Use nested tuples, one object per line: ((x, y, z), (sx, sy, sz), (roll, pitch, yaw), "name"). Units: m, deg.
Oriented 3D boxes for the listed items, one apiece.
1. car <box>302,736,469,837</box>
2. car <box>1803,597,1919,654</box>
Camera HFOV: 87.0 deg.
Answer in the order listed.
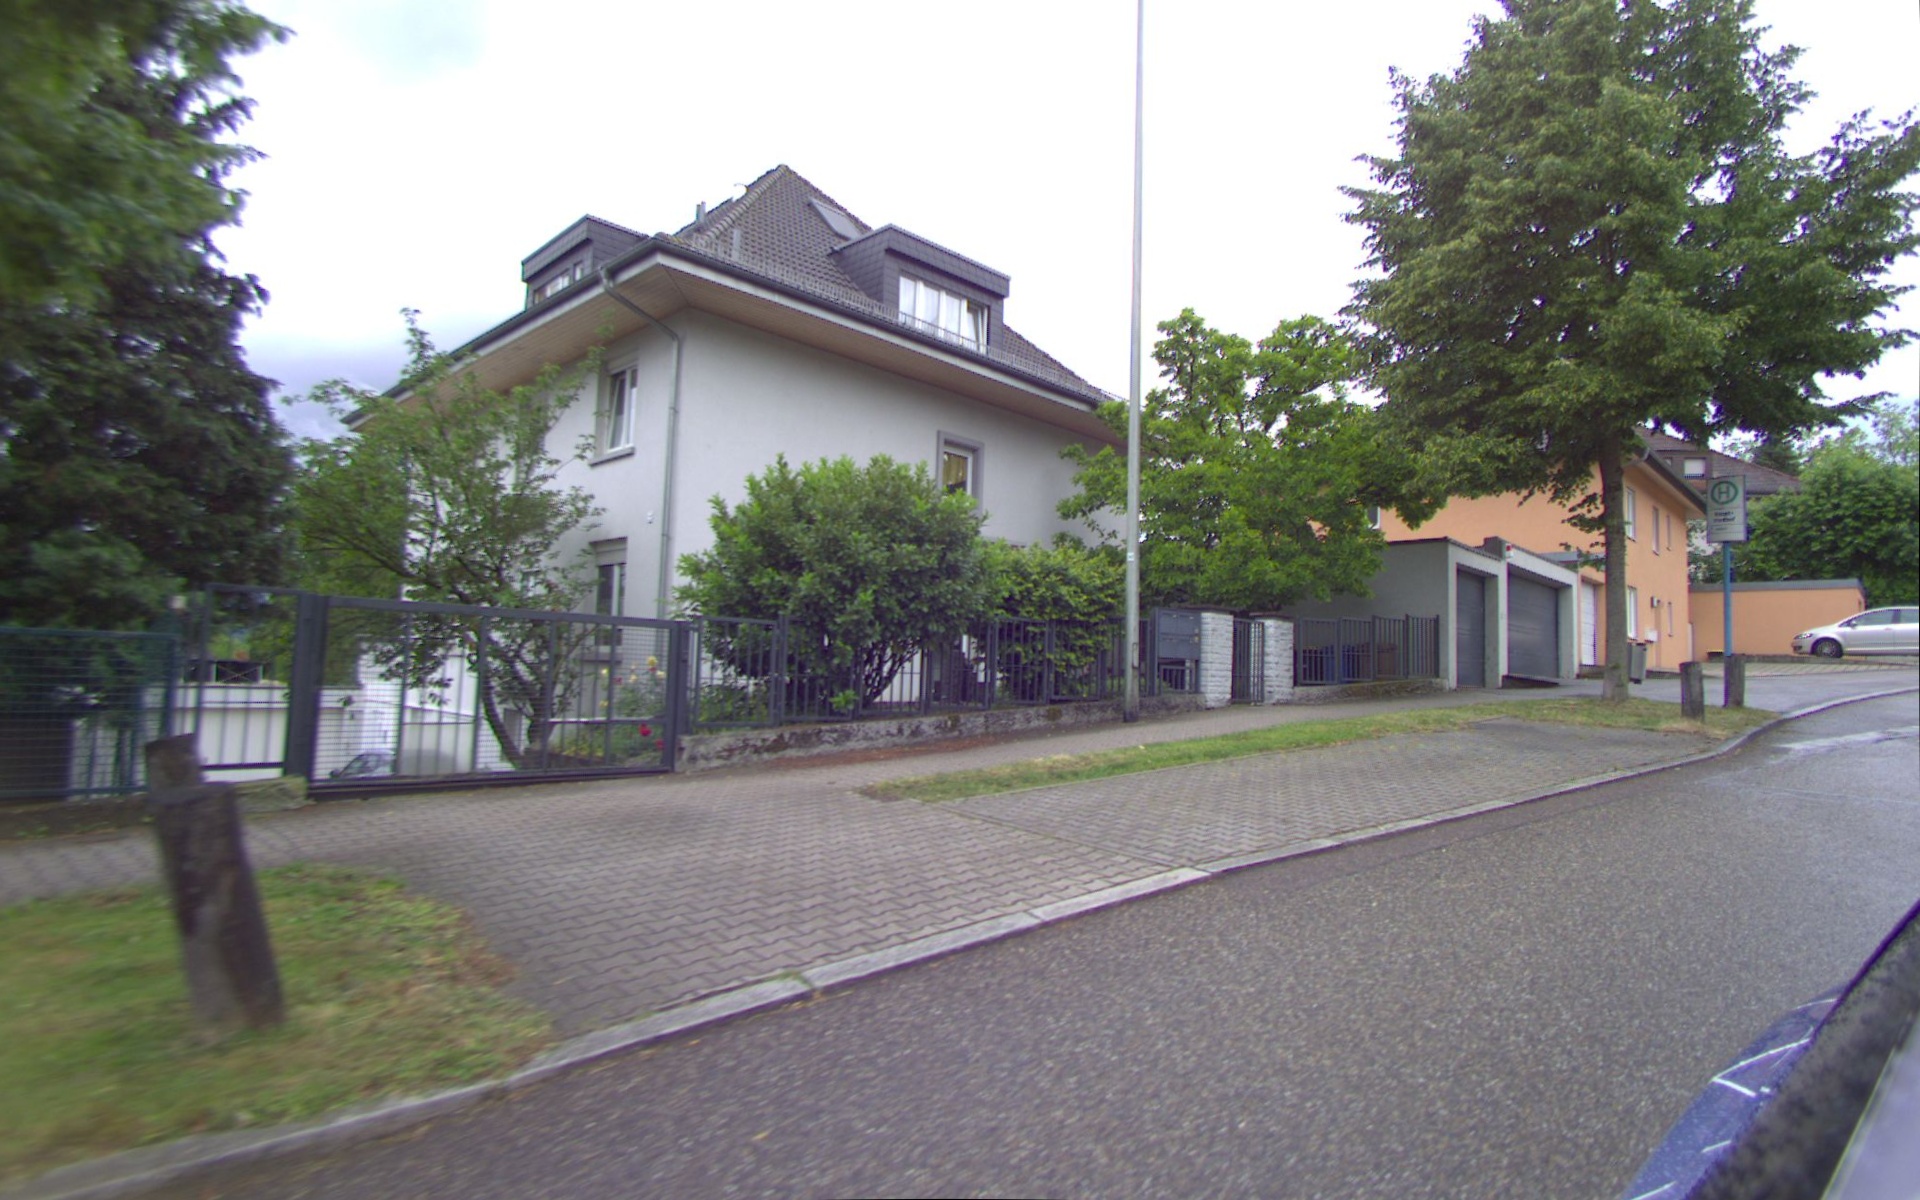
((-11.148, 3.487, 19.519), (1.966, 1.439, 3.989), (1, -5, -43), "car")
((26.980, 0.728, 29.257), (1.698, 1.586, 3.861), (2, -1, -43), "car")
